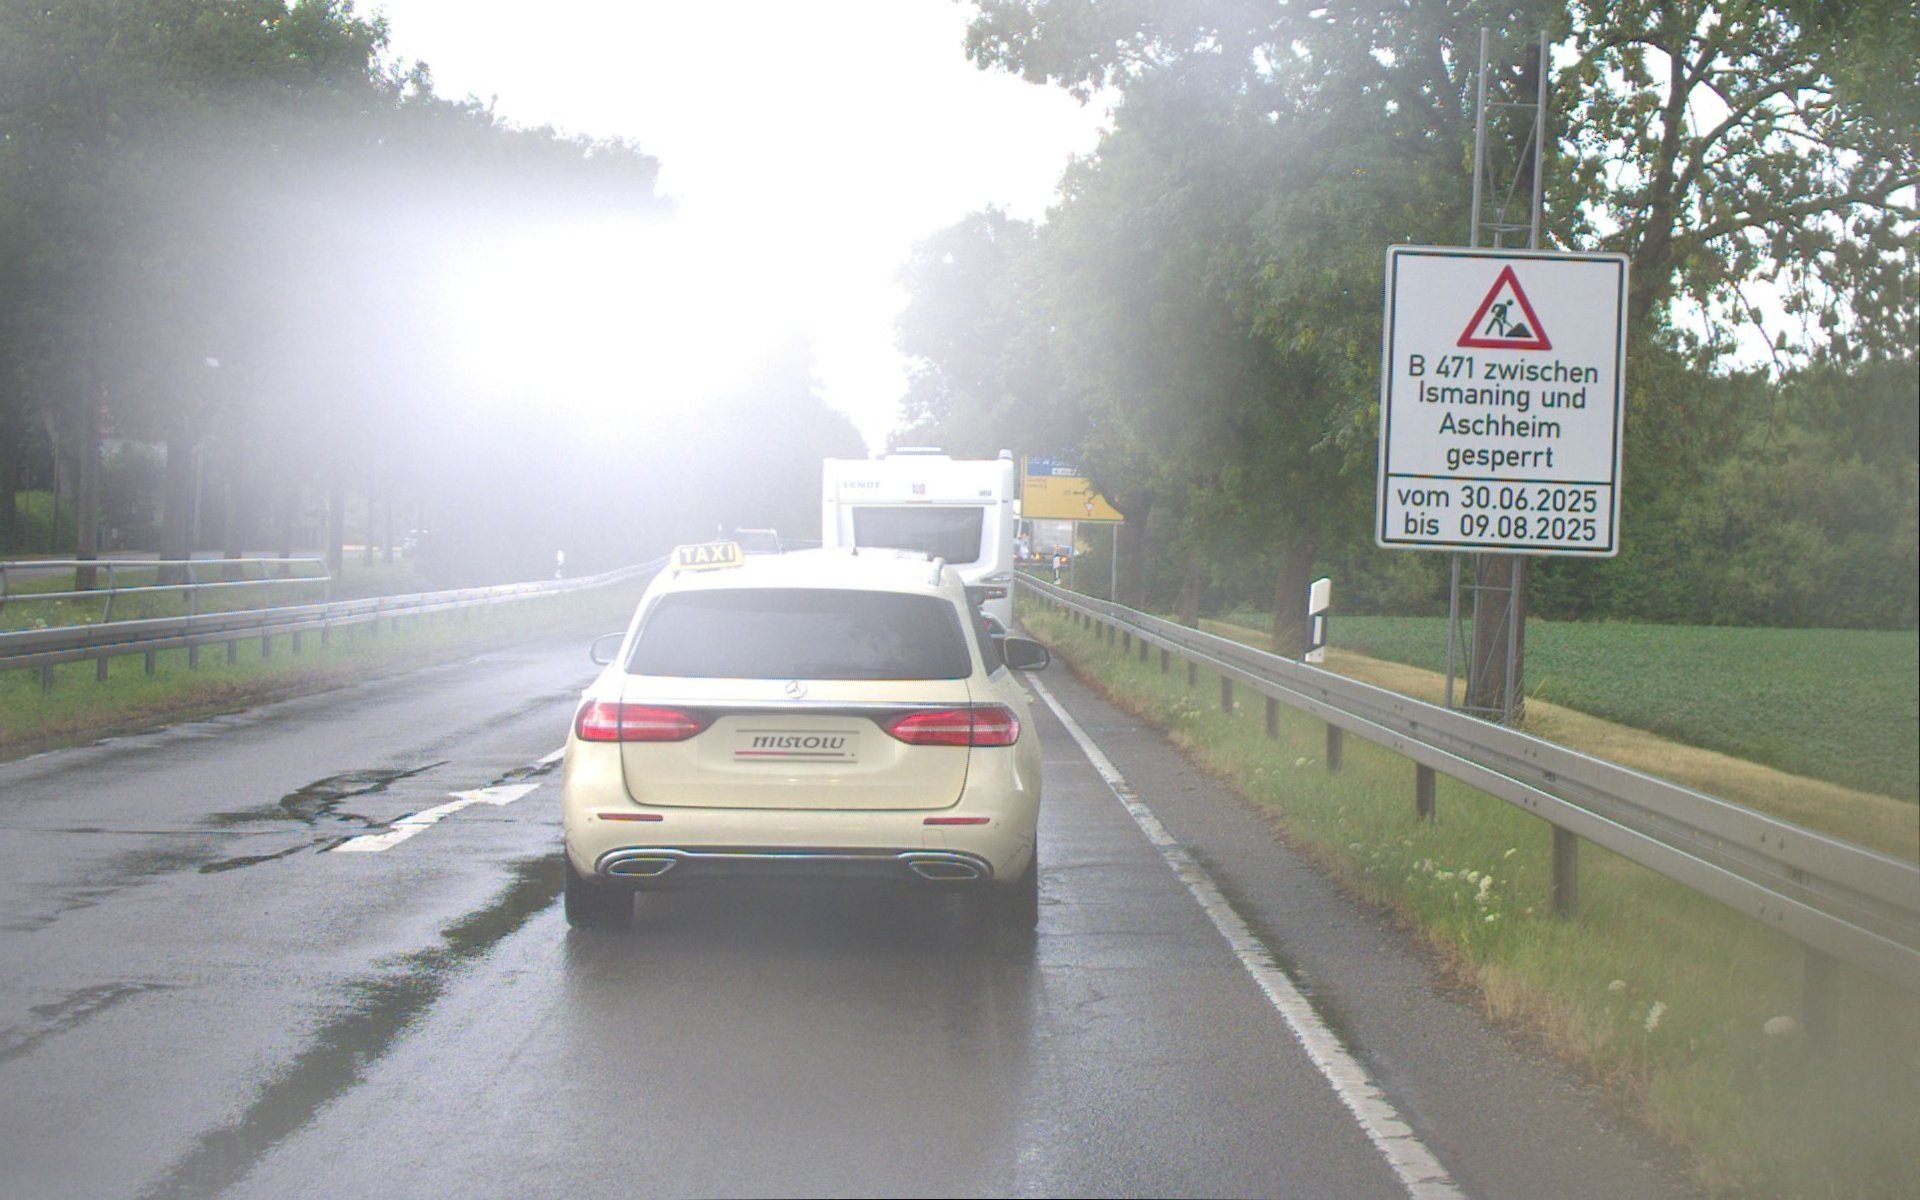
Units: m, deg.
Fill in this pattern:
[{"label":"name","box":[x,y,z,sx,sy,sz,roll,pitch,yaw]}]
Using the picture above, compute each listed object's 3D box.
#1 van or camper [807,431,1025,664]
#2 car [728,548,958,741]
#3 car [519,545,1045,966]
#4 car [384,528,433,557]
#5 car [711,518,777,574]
[{"label":"van or camper","box":[-0.476,-0.668,42.939,2.489,2.676,5.700,1,1,1]},{"label":"car","box":[-0.876,0.302,27.775,1.664,1.426,4.000,0,1,1]},{"label":"car","box":[-0.607,0.521,14.209,1.865,1.471,4.000,0,1,1]},{"label":"car","box":[-28.470,-2.991,177.537,1.785,1.411,4.000,2,1,1]},{"label":"car","box":[-6.365,-1.596,101.530,1.764,1.614,4.000,0,1,-1]}]
